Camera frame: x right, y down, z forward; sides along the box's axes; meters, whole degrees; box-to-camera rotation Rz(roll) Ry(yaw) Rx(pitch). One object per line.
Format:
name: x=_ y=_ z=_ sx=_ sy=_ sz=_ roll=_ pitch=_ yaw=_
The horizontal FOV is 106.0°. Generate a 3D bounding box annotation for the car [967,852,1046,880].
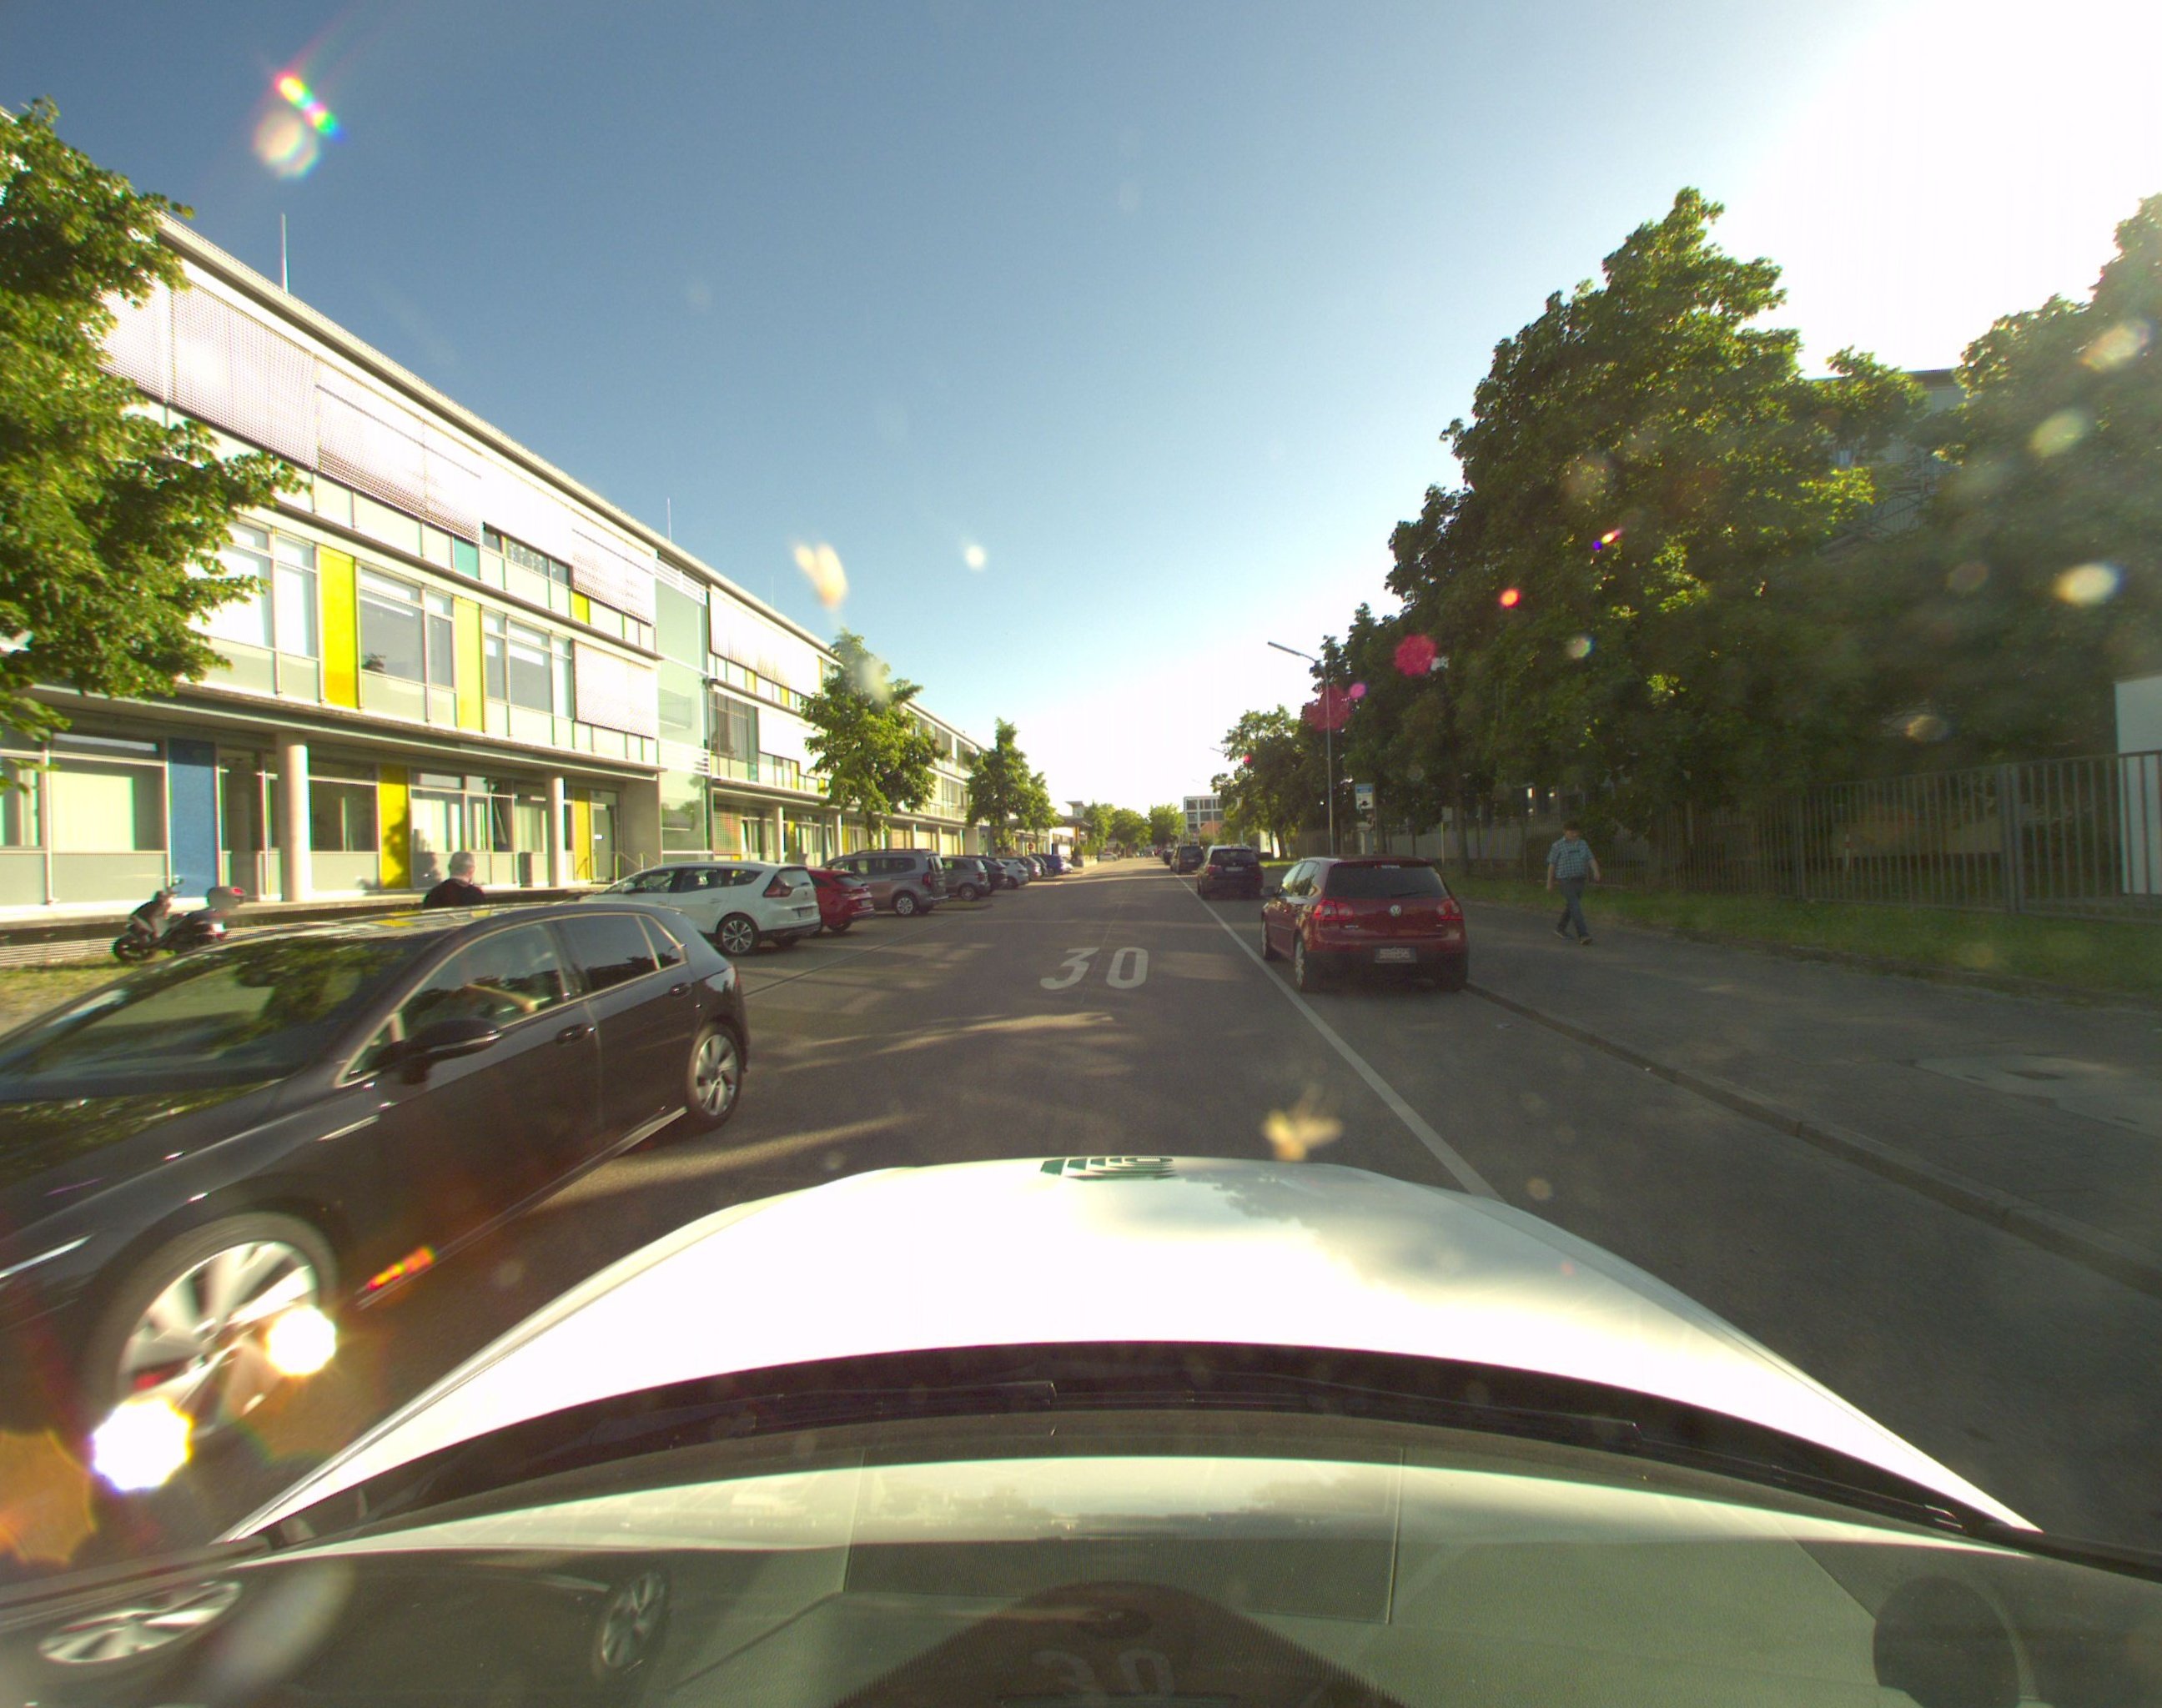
car: x=-4.153 y=0.649 z=45.965 sx=4.199 sy=1.462 sz=1.872 roll=-1 pitch=0 yaw=1

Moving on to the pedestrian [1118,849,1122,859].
pedestrian: x=6.438 y=-0.025 z=135.009 sx=0.616 sy=1.624 sz=0.717 roll=-3 pitch=0 yaw=4

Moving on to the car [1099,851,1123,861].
car: x=5.102 y=0.365 z=139.260 sx=3.968 sy=1.519 sz=2.003 roll=-2 pitch=-1 yaw=5

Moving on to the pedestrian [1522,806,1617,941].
pedestrian: x=6.763 y=0.259 z=11.328 sx=0.714 sy=1.758 sz=0.886 roll=-4 pitch=0 yaw=5

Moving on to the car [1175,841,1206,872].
car: x=6.845 y=0.159 z=51.228 sx=1.724 sy=1.830 sz=3.911 roll=-2 pitch=0 yaw=5

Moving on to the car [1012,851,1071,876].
car: x=-2.808 y=0.671 z=58.349 sx=3.971 sy=1.552 sz=2.001 roll=-3 pitch=0 yaw=2

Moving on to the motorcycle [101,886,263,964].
motorcycle: x=-14.066 y=1.101 z=12.762 sx=2.035 sy=1.149 sz=0.499 roll=0 pitch=1 yaw=2

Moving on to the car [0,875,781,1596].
car: x=-3.092 y=0.927 z=3.565 sx=1.696 sy=1.451 sz=4.091 roll=-4 pitch=0 yaw=4

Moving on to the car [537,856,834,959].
car: x=-7.179 y=0.946 z=15.020 sx=4.586 sy=1.651 sz=1.872 roll=-2 pitch=0 yaw=8

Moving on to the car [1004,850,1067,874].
car: x=-3.082 y=0.536 z=55.924 sx=4.199 sy=1.603 sz=1.872 roll=-1 pitch=0 yaw=1

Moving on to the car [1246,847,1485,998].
car: x=3.259 y=0.665 z=10.326 sx=1.712 sy=1.454 sz=4.658 roll=-1 pitch=0 yaw=4

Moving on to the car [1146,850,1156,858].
car: x=14.905 y=0.020 z=172.973 sx=1.734 sy=1.543 sz=4.009 roll=-2 pitch=0 yaw=8

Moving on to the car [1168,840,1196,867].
car: x=7.877 y=-0.045 z=63.691 sx=1.866 sy=1.978 sz=4.005 roll=-3 pitch=0 yaw=5

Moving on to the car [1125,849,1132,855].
car: x=11.948 y=-0.506 z=205.425 sx=1.720 sy=1.536 sz=4.004 roll=-2 pitch=0 yaw=3

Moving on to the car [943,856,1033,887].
car: x=-4.365 y=0.834 z=38.619 sx=3.973 sy=1.358 sz=1.743 roll=-1 pitch=0 yaw=1

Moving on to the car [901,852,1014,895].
car: x=-4.971 y=0.763 z=33.158 sx=4.231 sy=1.611 sz=2.048 roll=-1 pitch=0 yaw=1

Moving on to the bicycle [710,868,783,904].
bicycle: x=-11.668 y=1.099 z=28.520 sx=0.861 sy=1.153 sz=2.387 roll=-1 pitch=0 yaw=26

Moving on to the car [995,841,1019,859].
car: x=-8.647 y=-0.426 z=95.281 sx=1.984 sy=2.014 sz=4.005 roll=-2 pitch=-1 yaw=5

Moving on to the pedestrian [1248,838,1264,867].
pedestrian: x=10.501 y=-0.069 z=48.871 sx=0.695 sy=1.661 sz=0.753 roll=-5 pitch=0 yaw=4

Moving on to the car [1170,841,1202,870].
car: x=7.383 y=0.087 z=57.455 sx=1.984 sy=1.822 sz=4.204 roll=-3 pitch=0 yaw=5

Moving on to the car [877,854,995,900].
car: x=-5.301 y=0.820 z=30.216 sx=3.973 sy=1.607 sz=1.872 roll=-1 pitch=0 yaw=1

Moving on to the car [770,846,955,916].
car: x=-6.158 y=0.739 z=23.258 sx=4.719 sy=1.865 sz=1.830 roll=-1 pitch=0 yaw=5

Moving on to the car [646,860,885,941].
car: x=-6.723 y=0.967 z=17.630 sx=4.413 sy=1.501 sz=1.830 roll=-2 pitch=0 yaw=5

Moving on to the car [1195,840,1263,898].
car: x=4.698 y=0.419 z=26.325 sx=1.803 sy=1.666 sz=4.600 roll=-1 pitch=1 yaw=6

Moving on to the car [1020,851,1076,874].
car: x=-2.452 y=0.634 z=60.841 sx=3.971 sy=1.552 sz=2.001 roll=-2 pitch=0 yaw=2

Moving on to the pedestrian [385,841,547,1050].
pedestrian: x=-5.709 y=0.803 z=7.610 sx=0.853 sy=1.842 sz=0.827 roll=0 pitch=0 yaw=6

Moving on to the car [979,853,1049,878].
car: x=-4.160 y=0.733 z=51.398 sx=4.199 sy=1.486 sz=1.872 roll=-1 pitch=0 yaw=1
